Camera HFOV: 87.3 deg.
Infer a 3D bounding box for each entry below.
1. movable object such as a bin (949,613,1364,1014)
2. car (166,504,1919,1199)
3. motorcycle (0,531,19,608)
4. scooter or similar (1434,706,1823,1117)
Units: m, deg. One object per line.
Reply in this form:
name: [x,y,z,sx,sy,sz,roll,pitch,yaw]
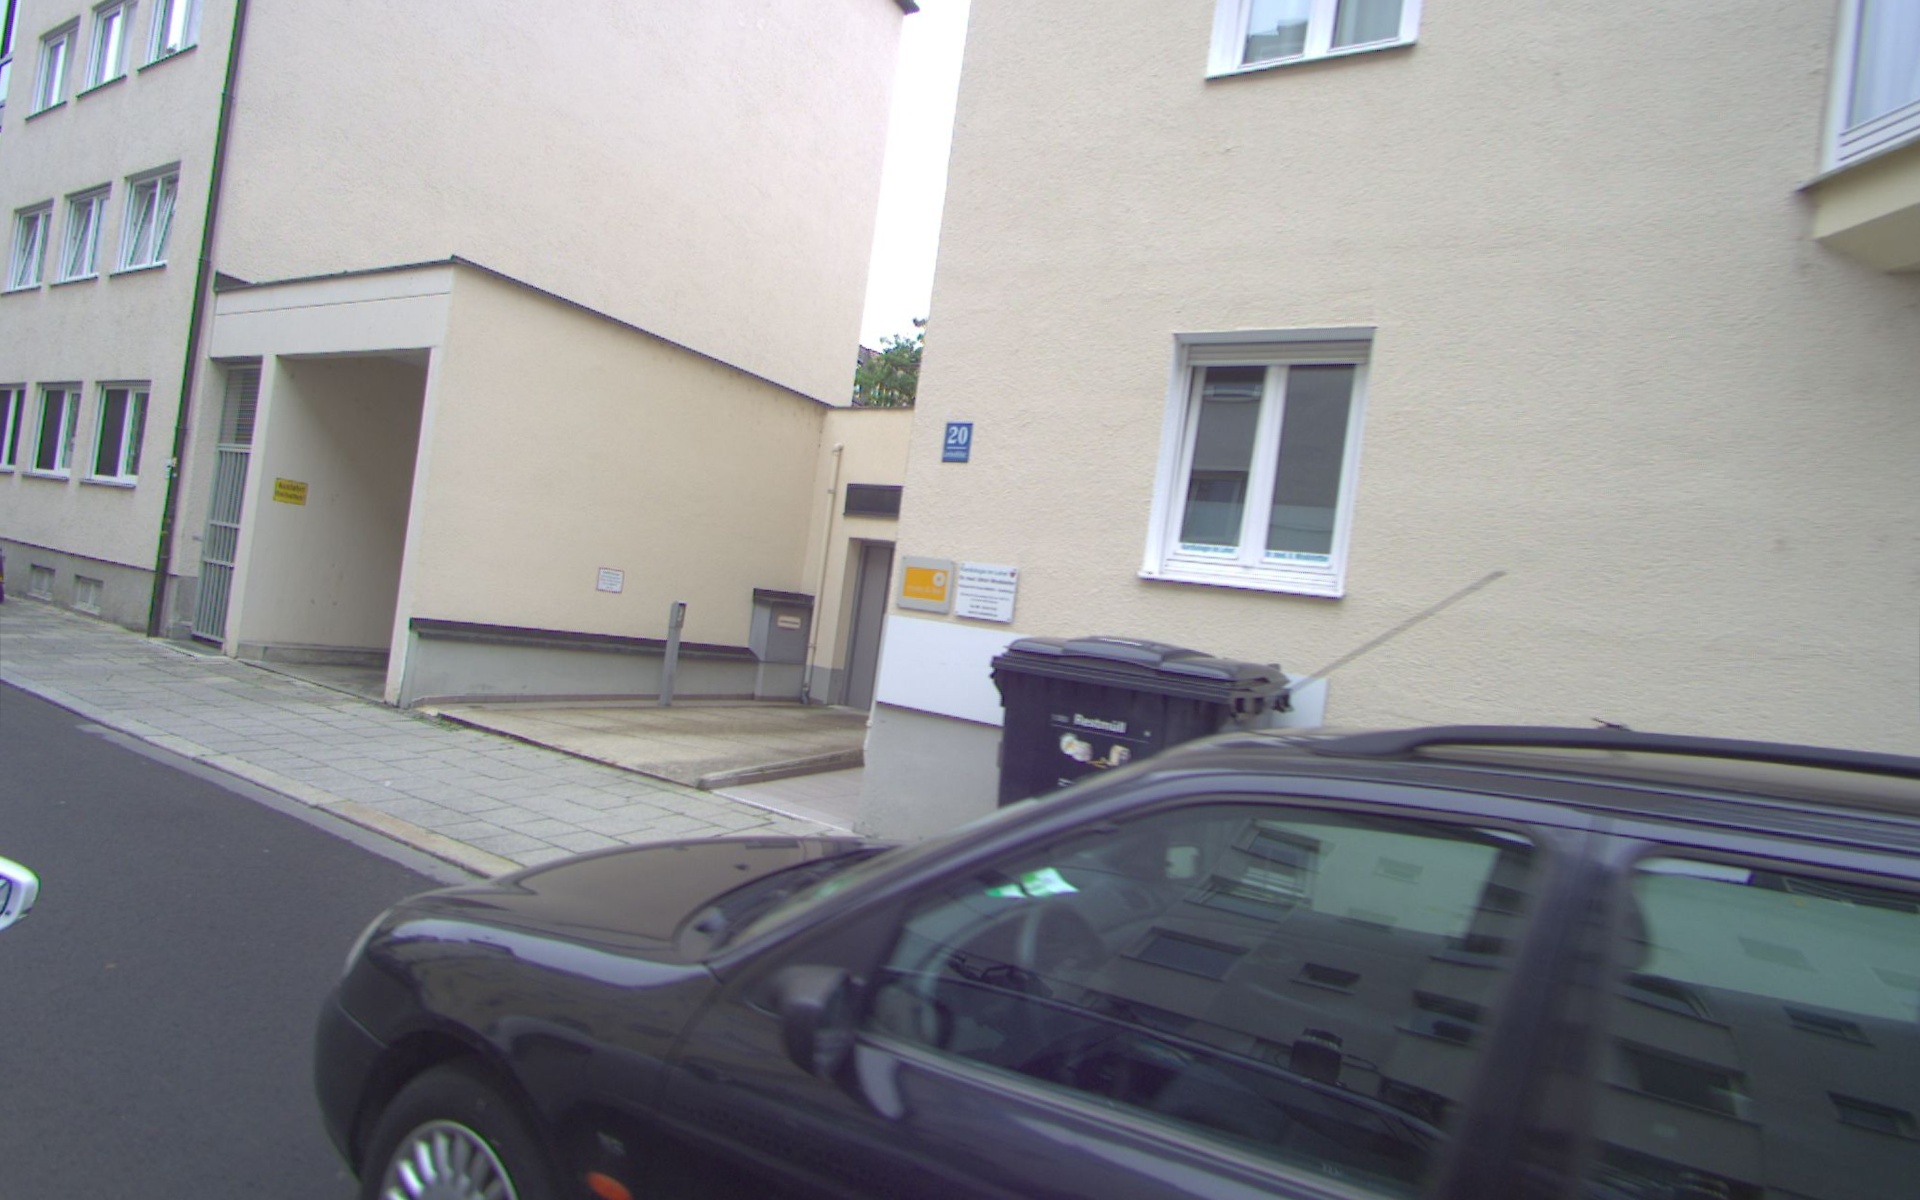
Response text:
movable object such as a bin: [0.945,0.886,4.831,1.560,1.441,1.033,6,0,32]
car: [0.819,0.861,1.723,4.454,1.487,1.722,7,-3,29]
motorcycle: [-13.316,-0.481,13.512,1.879,0.981,0.481,7,3,31]
scooter or similar: [2.642,1.157,4.089,1.117,1.282,0.576,7,1,32]
